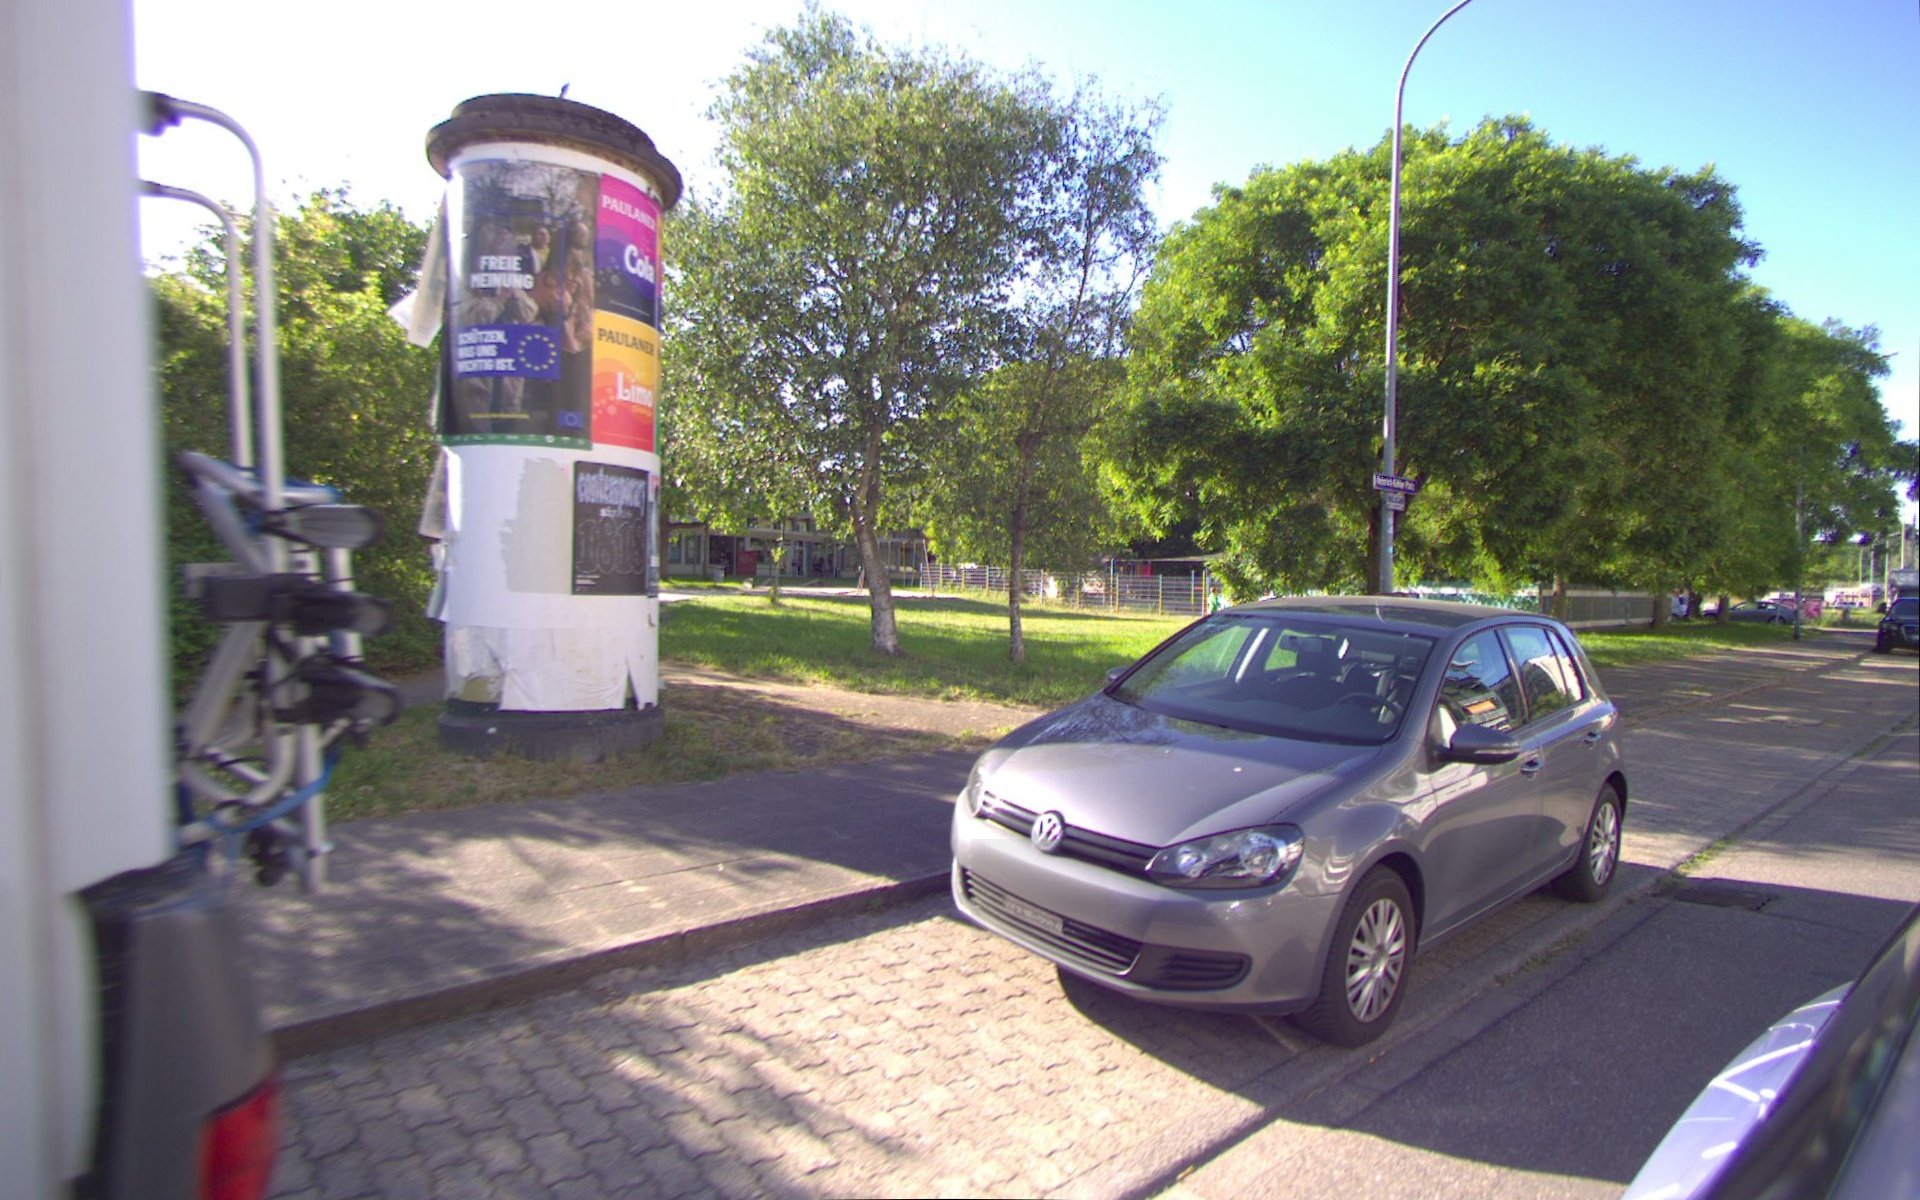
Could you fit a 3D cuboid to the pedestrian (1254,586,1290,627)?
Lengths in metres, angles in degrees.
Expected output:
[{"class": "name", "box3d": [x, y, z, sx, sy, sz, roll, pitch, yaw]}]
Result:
[{"class": "pedestrian", "box3d": [8.659, 0.181, 28.119, 0.701, 1.102, 0.713, 3, 2, 41]}]

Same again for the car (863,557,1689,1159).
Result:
[{"class": "car", "box3d": [1.828, 0.682, 4.826, 4.353, 1.542, 1.724, 0, 4, -42]}]

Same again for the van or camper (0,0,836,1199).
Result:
[{"class": "van or camper", "box3d": [-3.559, -0.181, 0.391, 6.732, 2.880, 2.501, 0, 2, -42]}]

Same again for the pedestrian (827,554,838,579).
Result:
[{"class": "pedestrian", "box3d": [-9.159, -2.400, 72.776, 0.535, 1.817, 0.556, 1, 1, -42]}]

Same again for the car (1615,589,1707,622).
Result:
[{"class": "car", "box3d": [38.014, 0.284, 54.927, 1.795, 1.597, 3.695, 1, 1, -38]}]

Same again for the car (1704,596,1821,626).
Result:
[{"class": "car", "box3d": [40.763, 0.561, 51.477, 1.715, 1.354, 4.433, 2, 0, -40]}]

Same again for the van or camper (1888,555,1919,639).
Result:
[{"class": "van or camper", "box3d": [32.785, -0.030, 33.634, 6.319, 2.627, 2.355, 0, 4, -44]}]

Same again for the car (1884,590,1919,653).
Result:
[{"class": "car", "box3d": [27.963, 0.625, 29.001, 1.995, 1.660, 4.464, 5, 3, 44]}]

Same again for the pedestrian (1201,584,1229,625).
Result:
[{"class": "pedestrian", "box3d": [7.177, 0.125, 28.499, 0.628, 1.102, 0.503, 3, 1, 27]}]
